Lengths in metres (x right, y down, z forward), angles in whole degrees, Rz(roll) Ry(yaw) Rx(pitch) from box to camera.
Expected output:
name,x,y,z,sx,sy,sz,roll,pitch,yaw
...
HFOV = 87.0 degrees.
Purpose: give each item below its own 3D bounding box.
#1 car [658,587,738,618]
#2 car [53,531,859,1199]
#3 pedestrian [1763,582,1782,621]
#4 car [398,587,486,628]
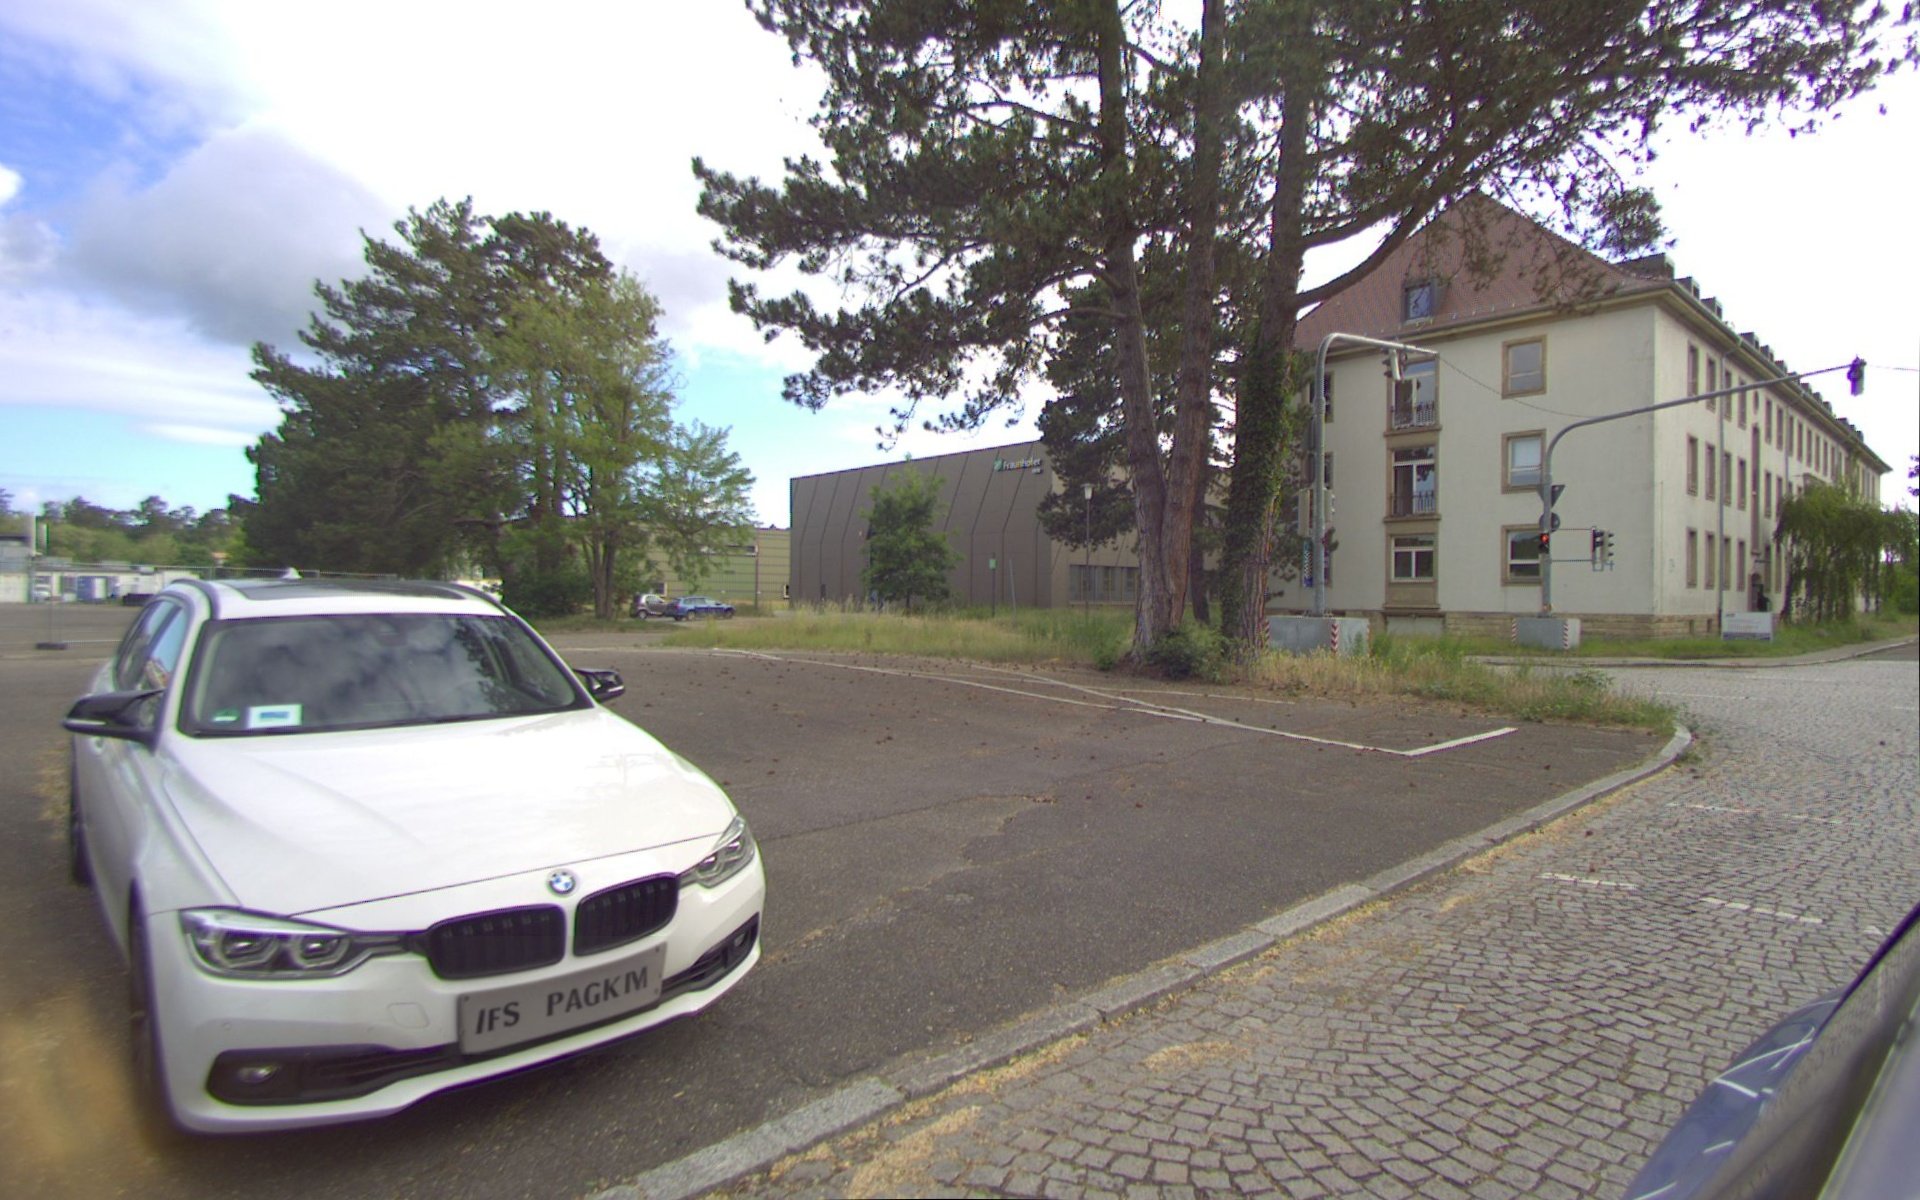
name,x,y,z,sx,sy,sz,roll,pitch,yaw
car,-16.104,0.121,62.352,4.401,1.854,1.996,0,0,-43
car,-2.584,0.560,4.394,1.874,1.585,4.498,0,3,-44
pedestrian,36.328,0.051,45.269,0.522,1.722,0.568,1,0,-38
car,-20.022,0.272,39.060,1.940,1.501,3.989,0,0,-44
